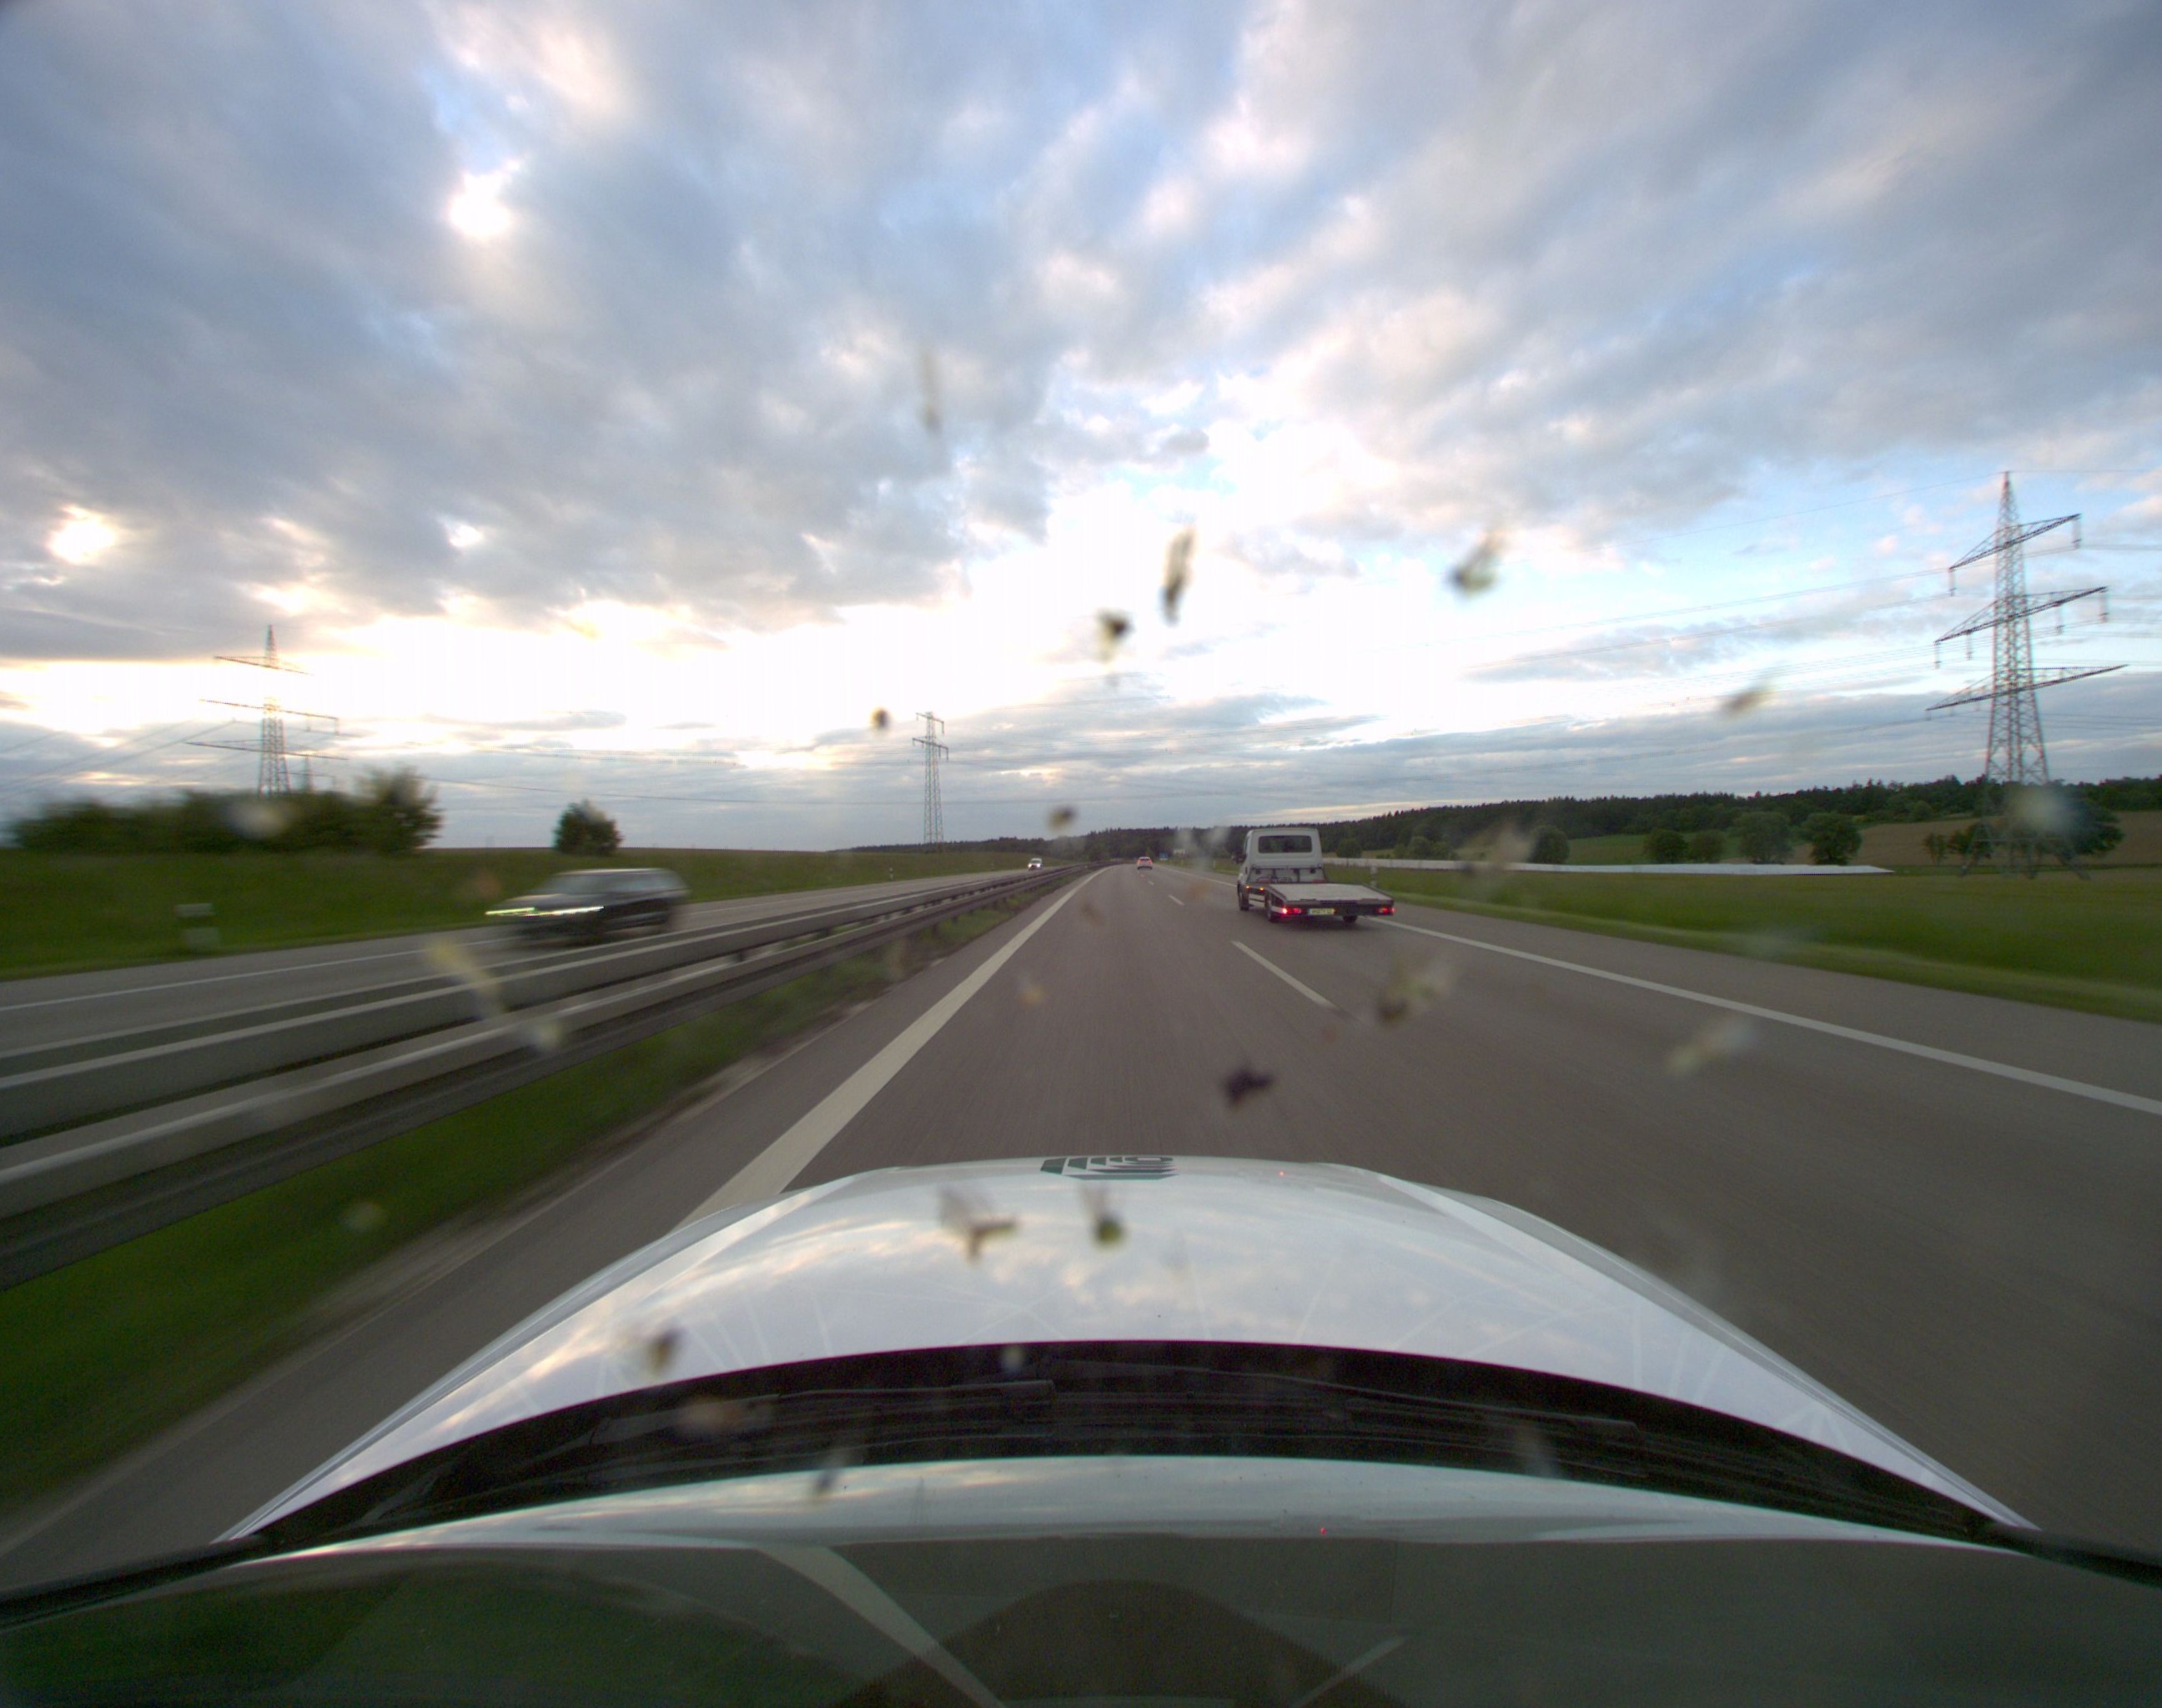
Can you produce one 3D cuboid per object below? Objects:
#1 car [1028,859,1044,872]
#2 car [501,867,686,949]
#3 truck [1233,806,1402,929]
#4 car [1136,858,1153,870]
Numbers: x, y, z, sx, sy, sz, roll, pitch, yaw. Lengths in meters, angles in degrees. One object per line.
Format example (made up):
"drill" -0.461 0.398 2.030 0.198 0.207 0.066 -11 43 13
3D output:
"car" -6.683 1.636 120.741 1.753 1.802 4.997 -2 0 2
"car" -11.374 1.174 19.439 1.692 1.664 4.463 0 0 0
"truck" 5.271 0.282 19.527 2.163 2.360 7.701 0 0 3
"car" 7.693 1.196 99.050 1.943 1.531 4.083 0 0 3
